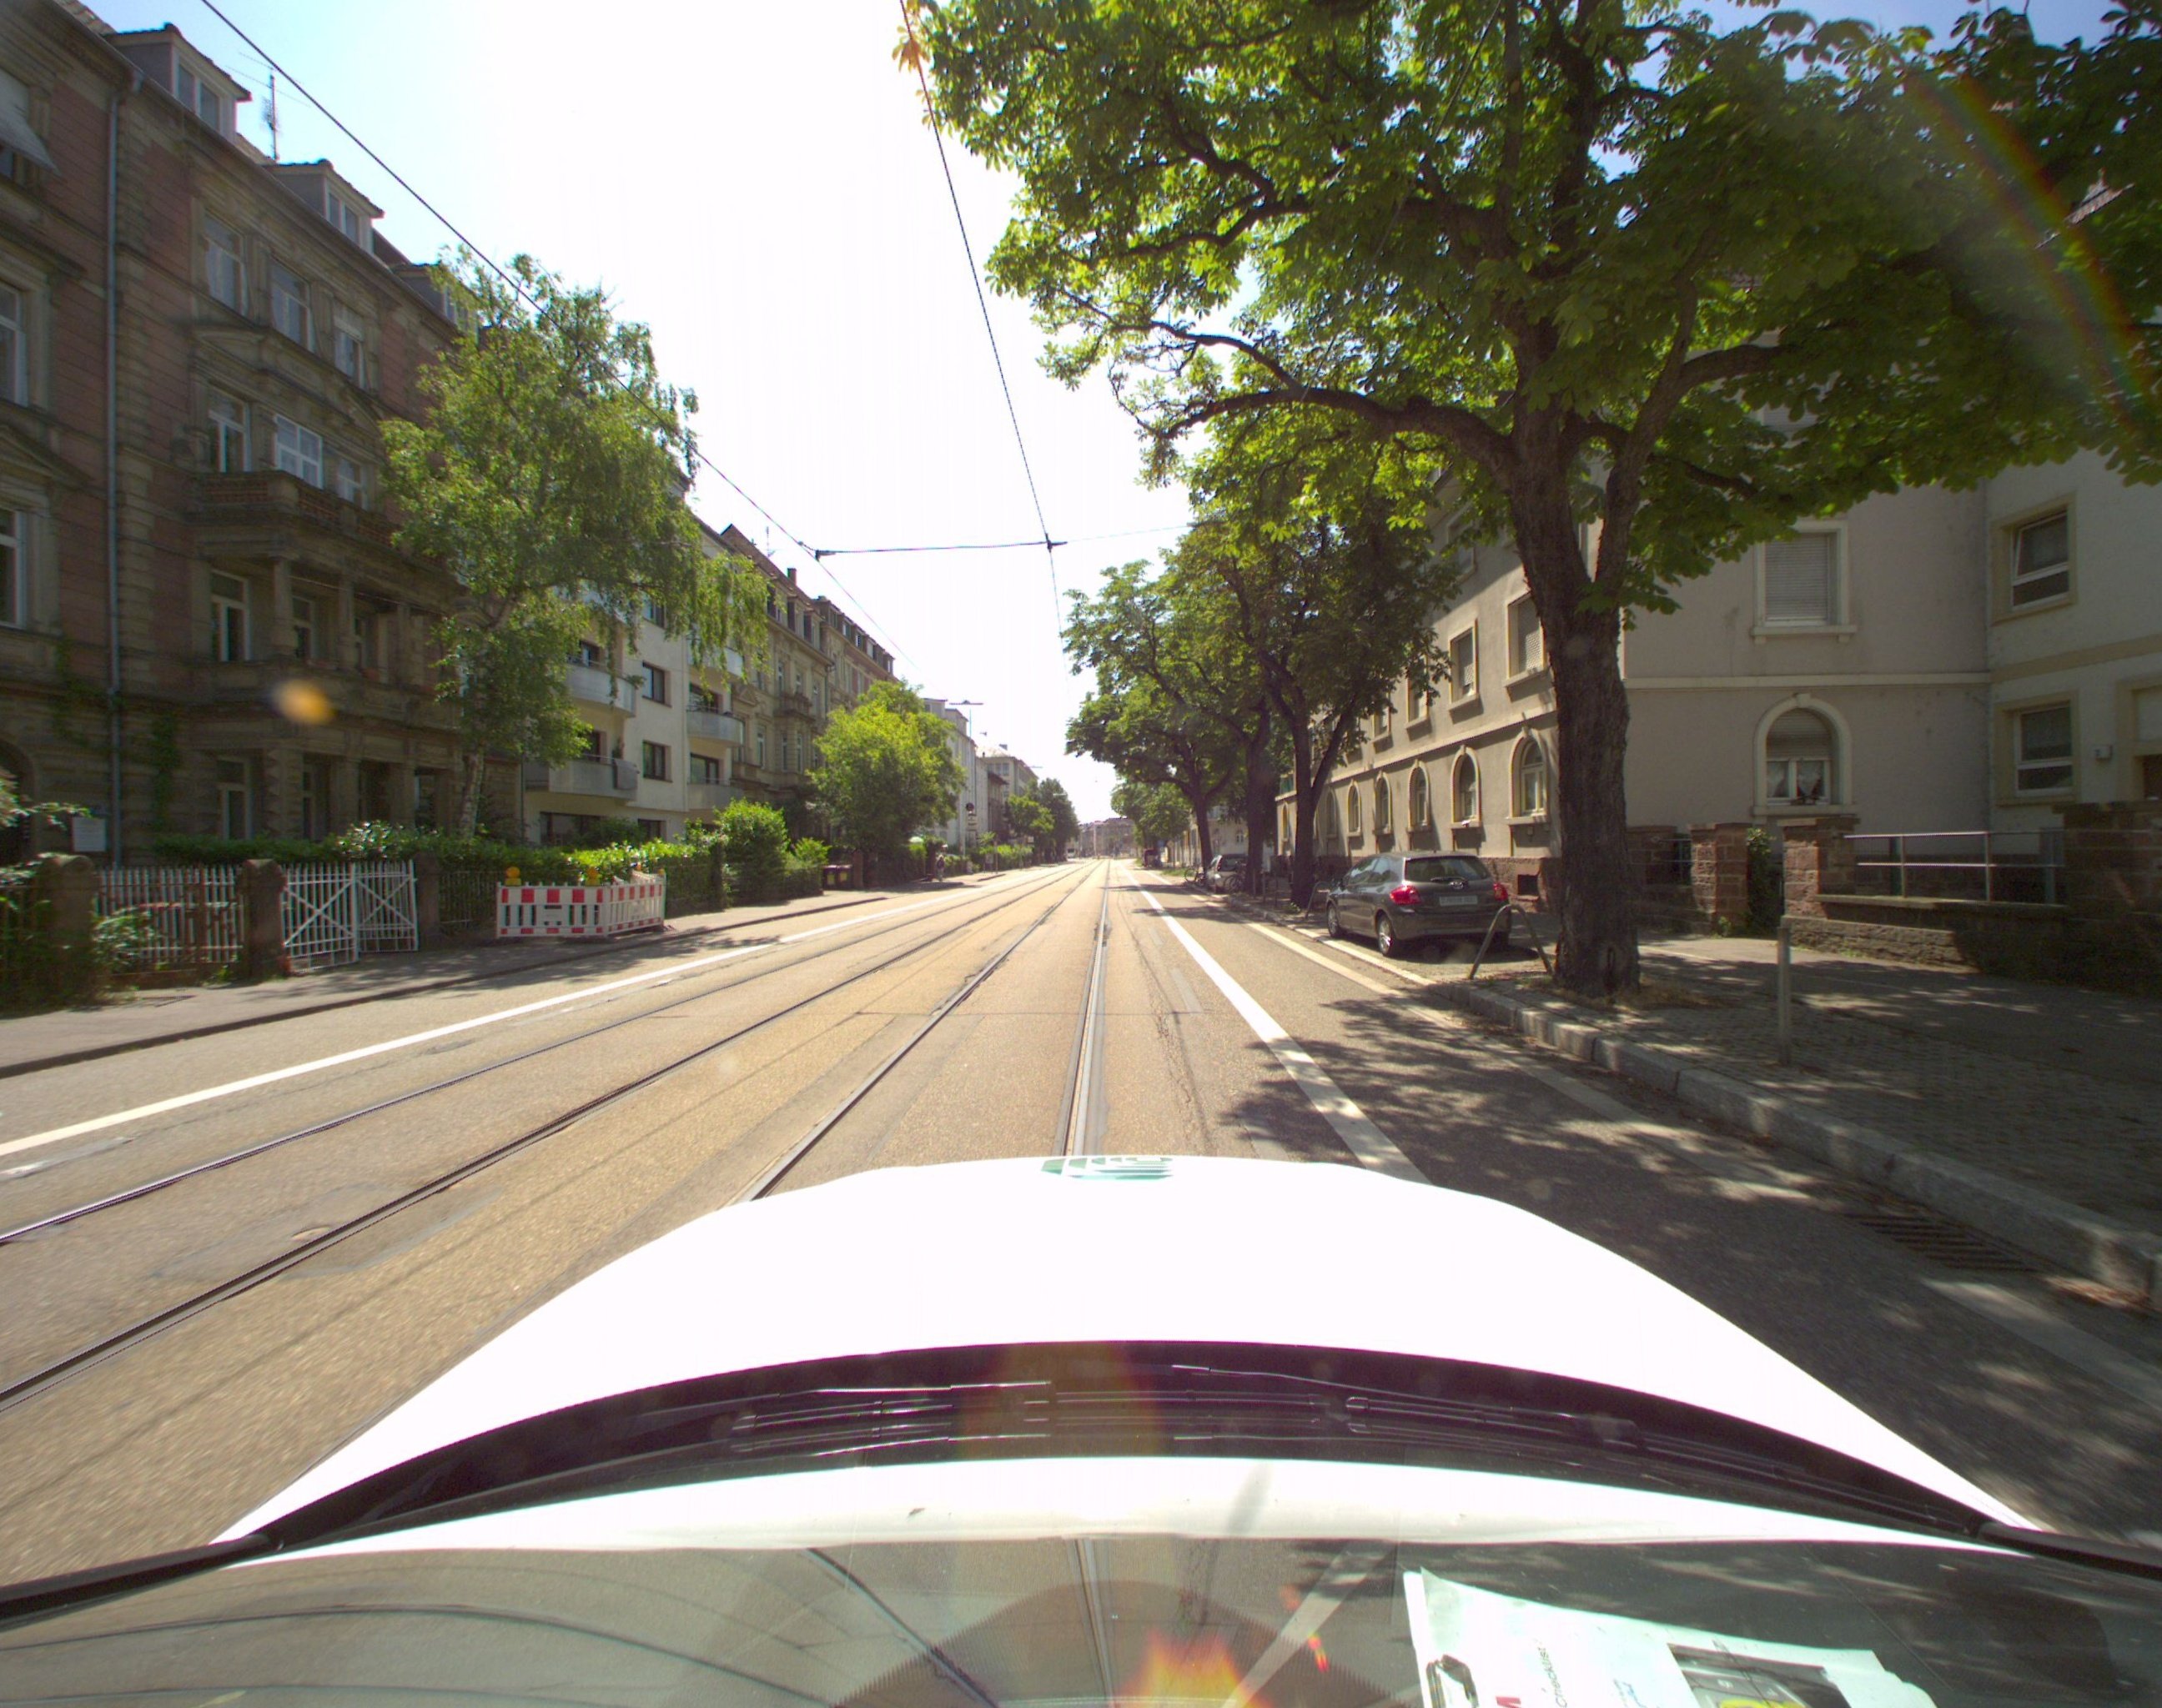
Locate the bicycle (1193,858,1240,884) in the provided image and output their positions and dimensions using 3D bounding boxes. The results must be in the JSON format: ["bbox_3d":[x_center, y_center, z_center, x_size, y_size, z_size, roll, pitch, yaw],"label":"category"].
[{"bbox_3d":[6.132,0.752,36.942,2.001,1.113,0.640,-2,-1,4],"label":"bicycle"}]

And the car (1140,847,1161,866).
[{"bbox_3d":[7.665,0.297,90.321,1.985,2.035,4.699,-1,0,2],"label":"car"}]

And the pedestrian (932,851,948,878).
[{"bbox_3d":[-8.503,0.631,49.282,0.747,1.629,0.835,0,0,6],"label":"pedestrian"}]

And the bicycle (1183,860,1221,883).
[{"bbox_3d":[6.143,0.869,41.422,1.809,1.113,0.493,-2,-1,1],"label":"bicycle"}]

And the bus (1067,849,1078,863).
[{"bbox_3d":[-2.588,0.596,248.919,2.920,3.937,11.279,1,-1,2],"label":"bus"}]

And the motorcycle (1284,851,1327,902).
[{"bbox_3d":[6.054,0.583,22.109,0.989,1.299,2.387,-1,0,13],"label":"motorcycle"}]

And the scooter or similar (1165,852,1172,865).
[{"bbox_3d":[8.395,0.420,78.187,0.499,1.230,1.574,0,0,2],"label":"scooter or similar"}]

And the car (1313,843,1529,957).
[{"bbox_3d":[5.259,0.618,13.297,1.768,1.501,4.306,-2,0,1],"label":"car"}]

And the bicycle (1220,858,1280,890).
[{"bbox_3d":[5.710,0.680,27.558,1.952,1.063,0.600,-1,-1,8],"label":"bicycle"}]

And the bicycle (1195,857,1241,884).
[{"bbox_3d":[6.081,0.732,36.321,1.954,1.113,0.599,-2,-1,4],"label":"bicycle"}]

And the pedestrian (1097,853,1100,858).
[{"bbox_3d":[4.235,0.266,192.834,0.493,1.173,0.585,-1,0,-23],"label":"pedestrian"}]

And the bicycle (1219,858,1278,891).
[{"bbox_3d":[5.575,0.684,27.209,1.879,1.052,0.539,-1,-1,8],"label":"bicycle"}]

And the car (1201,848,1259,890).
[{"bbox_3d":[5.740,0.558,31.787,1.616,1.448,3.811,-3,-1,2],"label":"car"}]
